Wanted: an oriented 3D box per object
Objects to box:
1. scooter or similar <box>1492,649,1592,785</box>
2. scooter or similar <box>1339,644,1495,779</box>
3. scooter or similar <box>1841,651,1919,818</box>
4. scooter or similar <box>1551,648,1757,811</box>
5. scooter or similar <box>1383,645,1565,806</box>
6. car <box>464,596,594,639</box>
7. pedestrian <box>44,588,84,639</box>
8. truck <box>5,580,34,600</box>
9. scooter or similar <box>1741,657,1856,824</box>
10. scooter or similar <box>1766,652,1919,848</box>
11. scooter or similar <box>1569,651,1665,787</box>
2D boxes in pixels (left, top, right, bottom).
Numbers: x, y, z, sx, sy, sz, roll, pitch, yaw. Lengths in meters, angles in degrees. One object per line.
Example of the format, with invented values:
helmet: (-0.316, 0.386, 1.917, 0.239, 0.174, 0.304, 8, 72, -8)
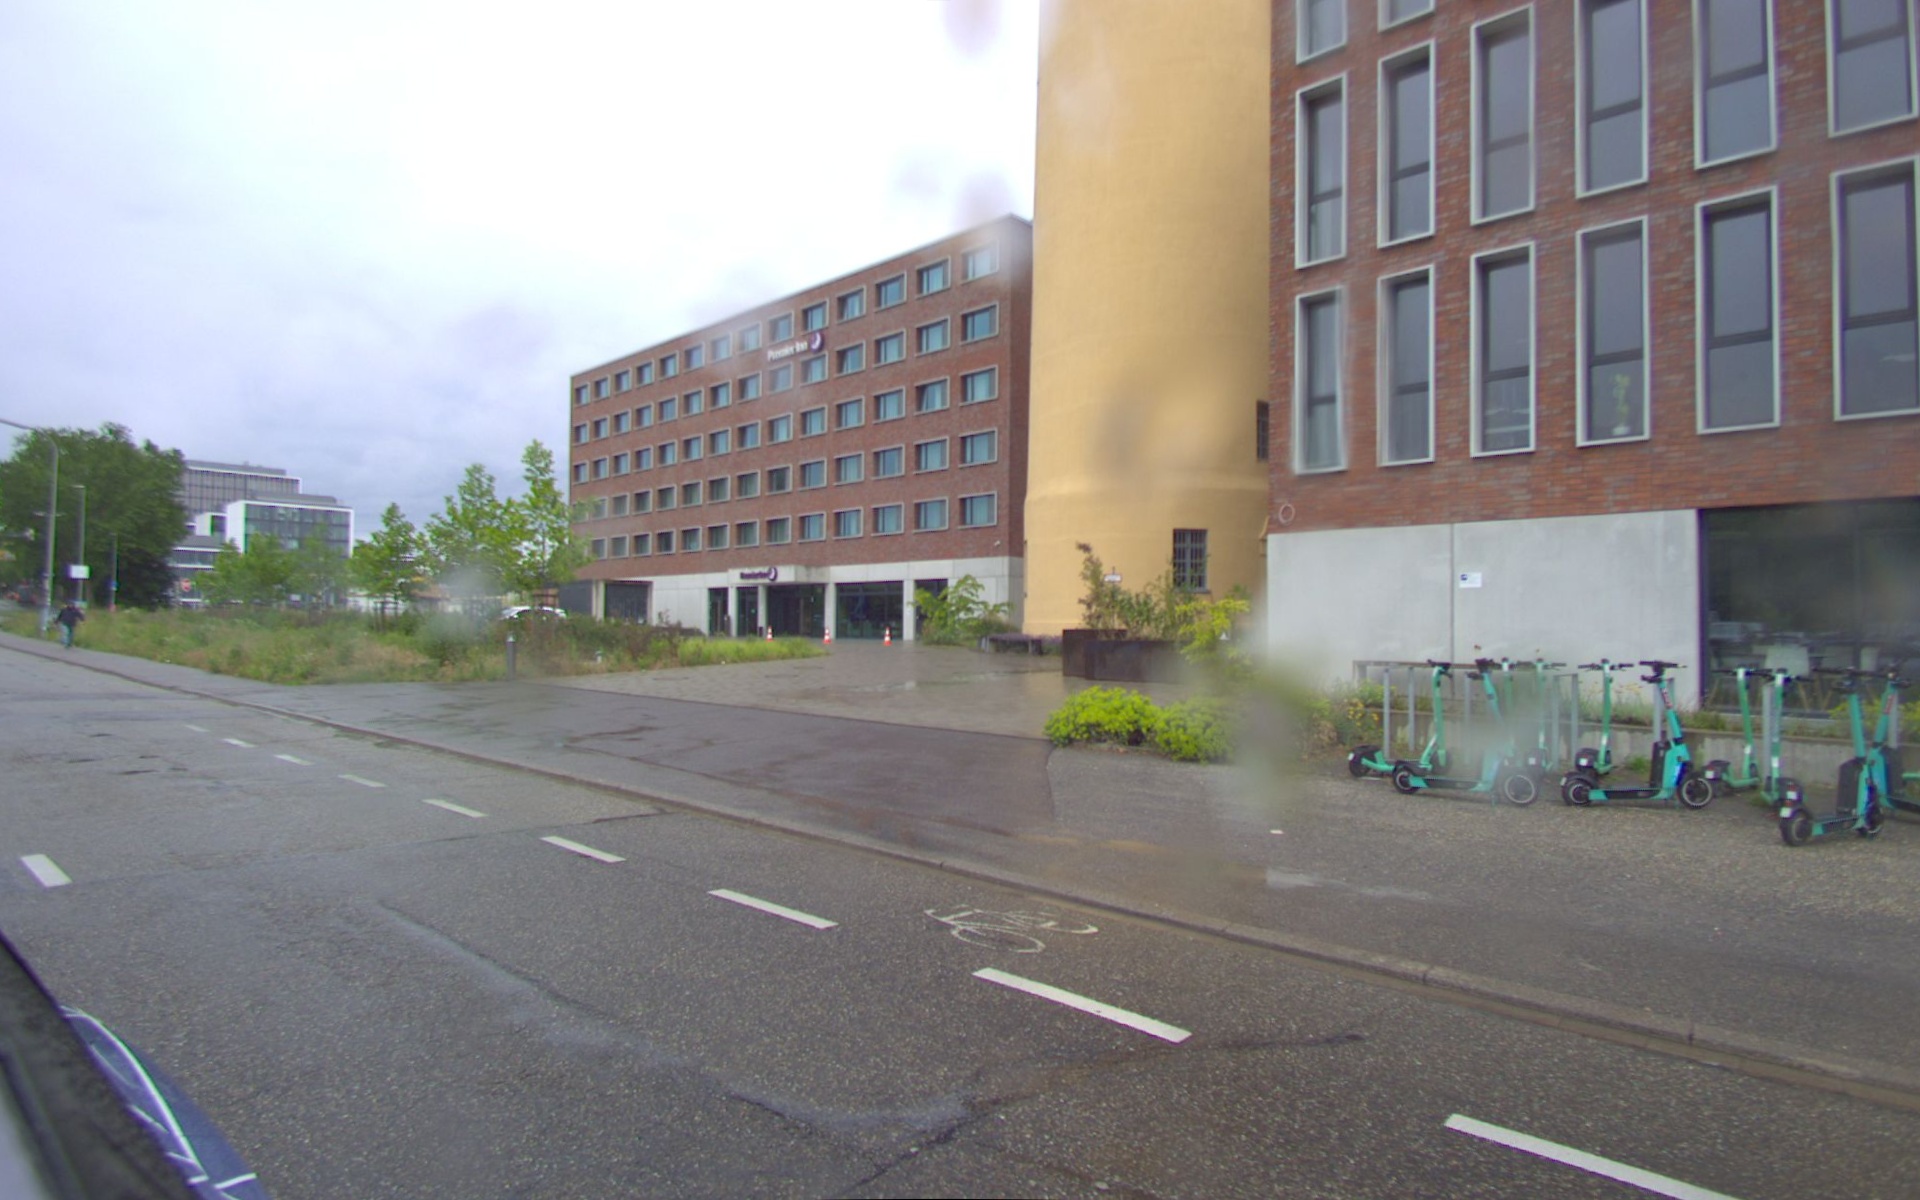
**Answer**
scooter or similar: (5.517, 1.063, 9.573, 1.301, 1.186, 0.468, 3, -3, -43)
scooter or similar: (4.393, 1.058, 9.741, 1.299, 1.239, 0.509, 2, -2, -10)
scooter or similar: (7.469, 1.026, 7.657, 0.460, 1.239, 1.210, 2, -2, -7)
scooter or similar: (5.689, 1.037, 8.352, 1.307, 1.239, 0.465, 1, -2, 13)
scooter or similar: (4.367, 1.024, 8.633, 1.319, 1.239, 0.461, 0, -2, 38)
car: (-17.582, 0.742, 41.465, 1.998, 1.653, 4.477, 1, -1, 38)
pedestrian: (-31.467, 0.474, 35.535, 1.026, 1.731, 0.899, 1, -1, 41)
truck: (-130.152, -1.339, 139.990, 6.972, 2.639, 2.063, 1, -2, 40)
scooter or similar: (6.671, 1.065, 8.099, 0.465, 1.186, 1.307, 0, -2, 29)
scooter or similar: (6.230, 0.997, 6.951, 1.298, 1.239, 0.469, 2, -2, -20)
scooter or similar: (6.216, 1.082, 9.548, 1.301, 1.186, 0.468, 3, -3, -43)
